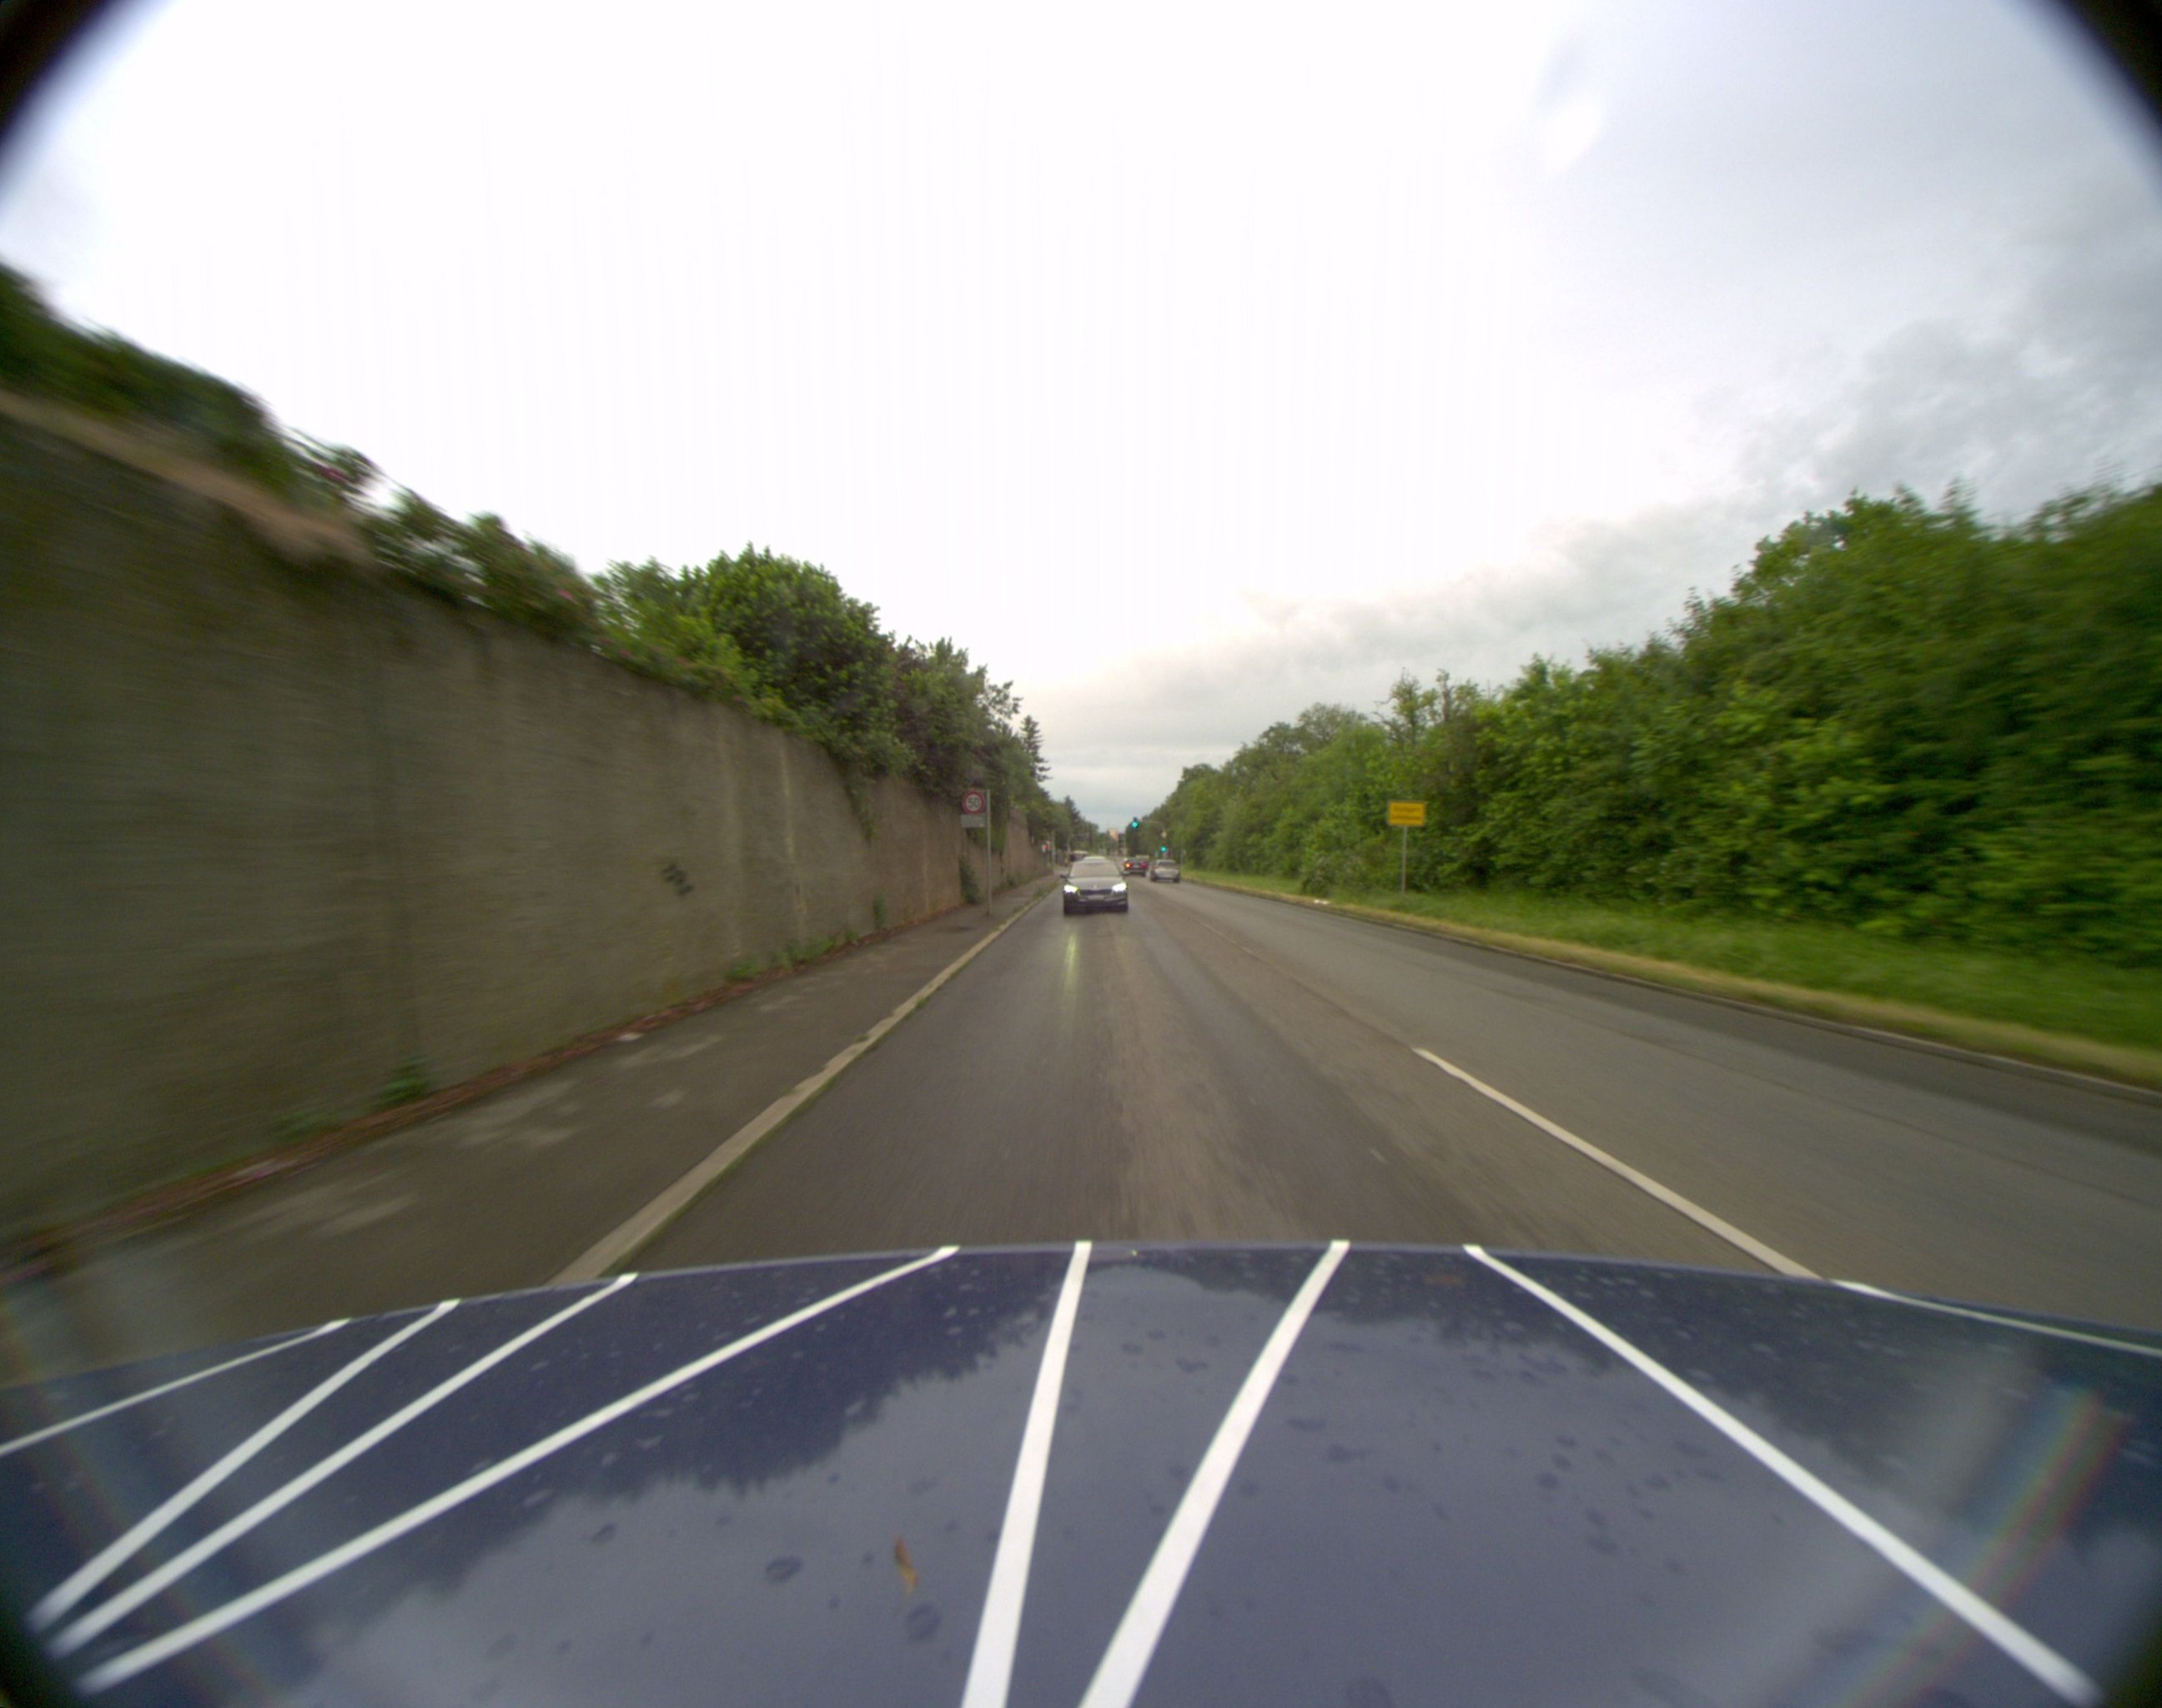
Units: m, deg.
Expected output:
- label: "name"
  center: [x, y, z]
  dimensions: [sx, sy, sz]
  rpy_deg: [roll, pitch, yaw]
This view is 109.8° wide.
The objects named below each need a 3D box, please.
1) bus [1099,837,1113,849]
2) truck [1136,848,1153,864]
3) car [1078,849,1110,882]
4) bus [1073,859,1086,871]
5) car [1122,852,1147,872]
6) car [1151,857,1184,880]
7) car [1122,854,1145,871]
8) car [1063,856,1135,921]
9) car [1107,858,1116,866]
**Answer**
- label: "bus"
  center: [7.157, -3.165, 219.202]
  dimensions: [3.175, 3.241, 8.215]
  rpy_deg: [1, 0, 7]
- label: "truck"
  center: [10.134, 0.304, 121.211]
  dimensions: [2.479, 2.494, 5.639]
  rpy_deg: [1, 0, 5]
- label: "car"
  center: [0.680, 0.592, 42.422]
  dimensions: [1.704, 1.724, 3.999]
  rpy_deg: [-1, 1, 0]
- label: "bus"
  center: [-0.170, 1.658, 118.491]
  dimensions: [1.998, 1.812, 4.486]
  rpy_deg: [1, 0, 0]
- label: "car"
  center: [4.623, 0.659, 65.858]
  dimensions: [1.737, 1.584, 4.281]
  rpy_deg: [1, 0, -1]
- label: "car"
  center: [5.654, 0.915, 50.066]
  dimensions: [1.806, 1.423, 4.178]
  rpy_deg: [1, 0, 1]
- label: "car"
  center: [5.252, 0.866, 76.255]
  dimensions: [1.899, 1.625, 4.270]
  rpy_deg: [1, 0, 0]
- label: "car"
  center: [0.453, 0.853, 20.587]
  dimensions: [1.675, 1.477, 4.215]
  rpy_deg: [-3, 0, 1]
- label: "car"
  center: [7.235, 1.809, 180.108]
  dimensions: [1.998, 1.812, 4.487]
  rpy_deg: [1, 0, 5]
